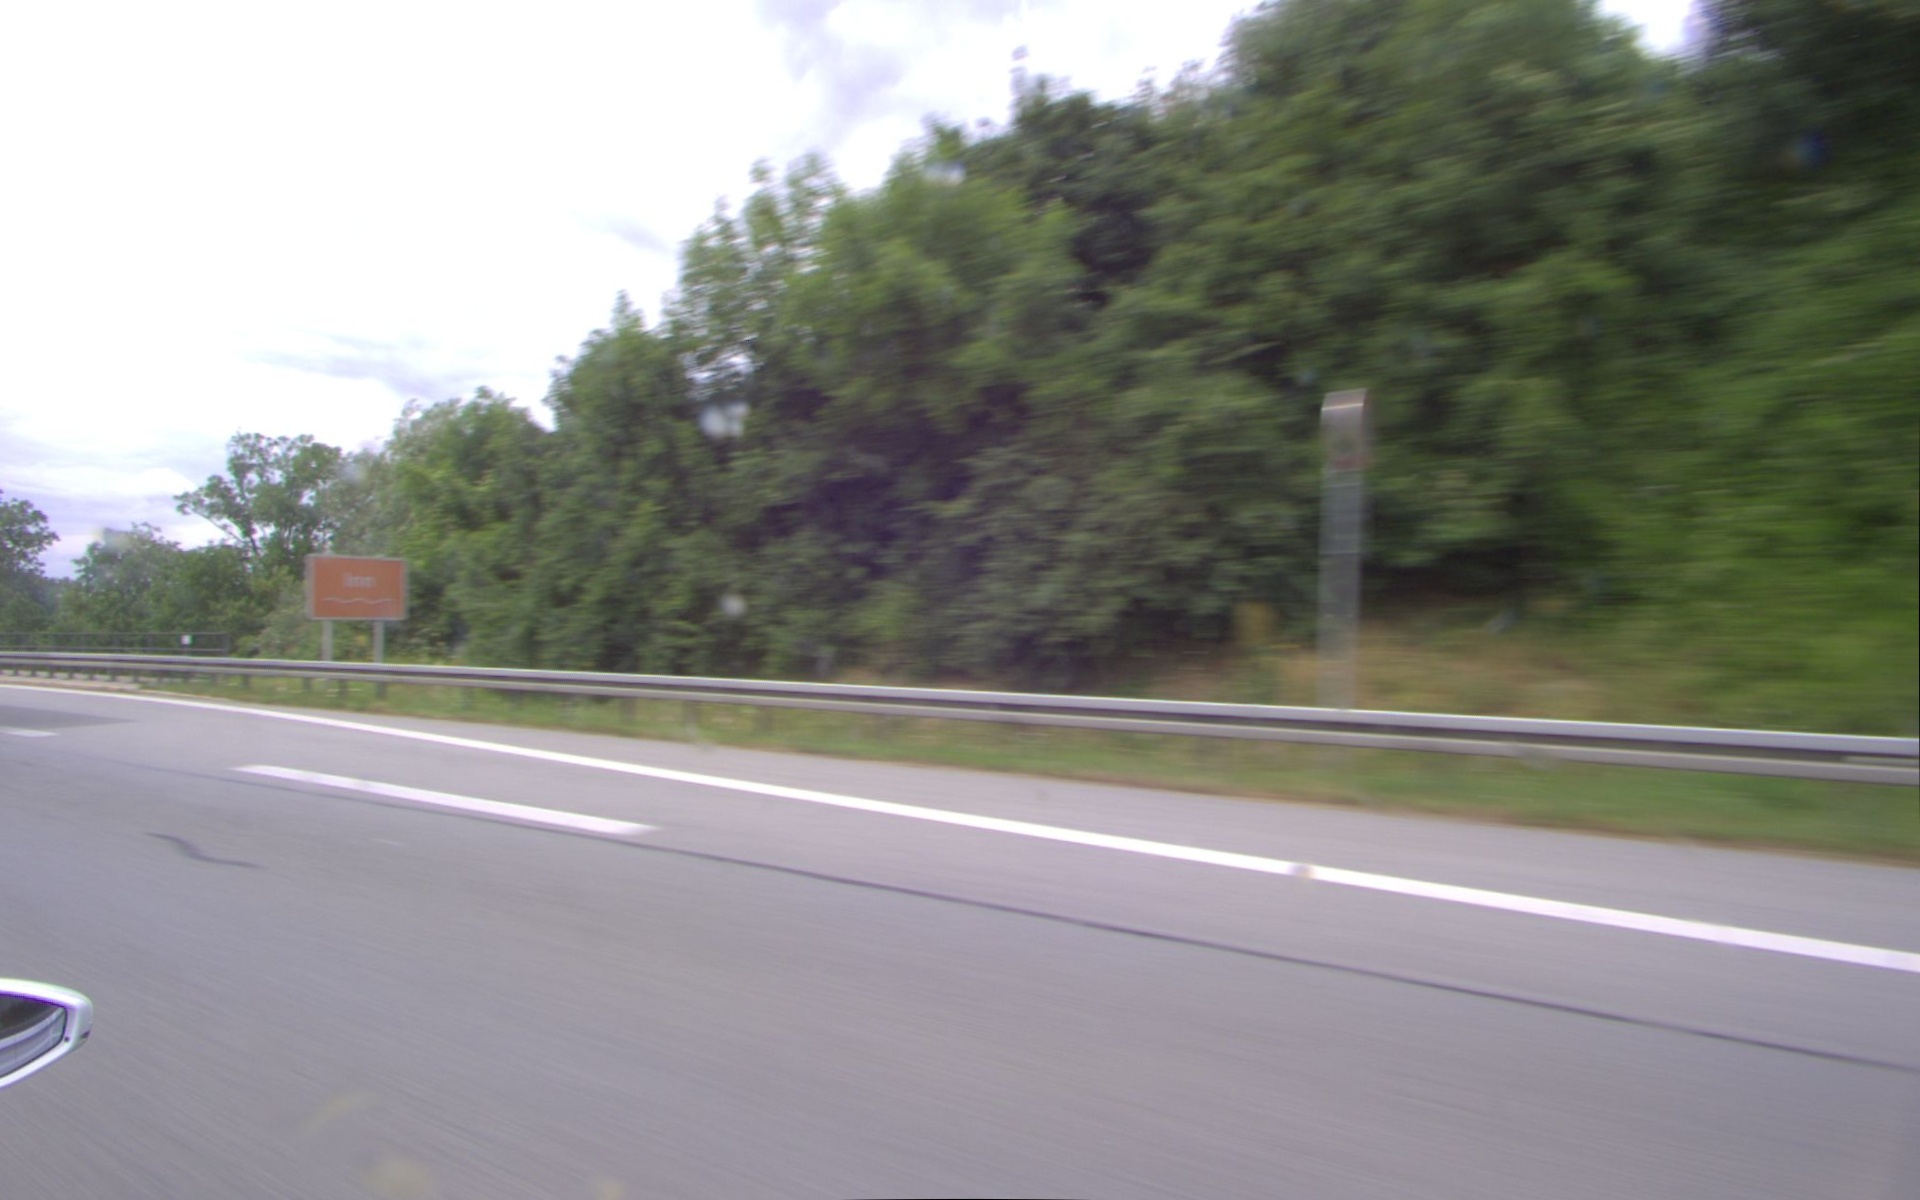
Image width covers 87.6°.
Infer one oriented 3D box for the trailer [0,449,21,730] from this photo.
[{"bbox_3d":[-19.847,-0.039,16.529,13.594,3.941,3.056,-1,-1,32],"label":"trailer"}]
